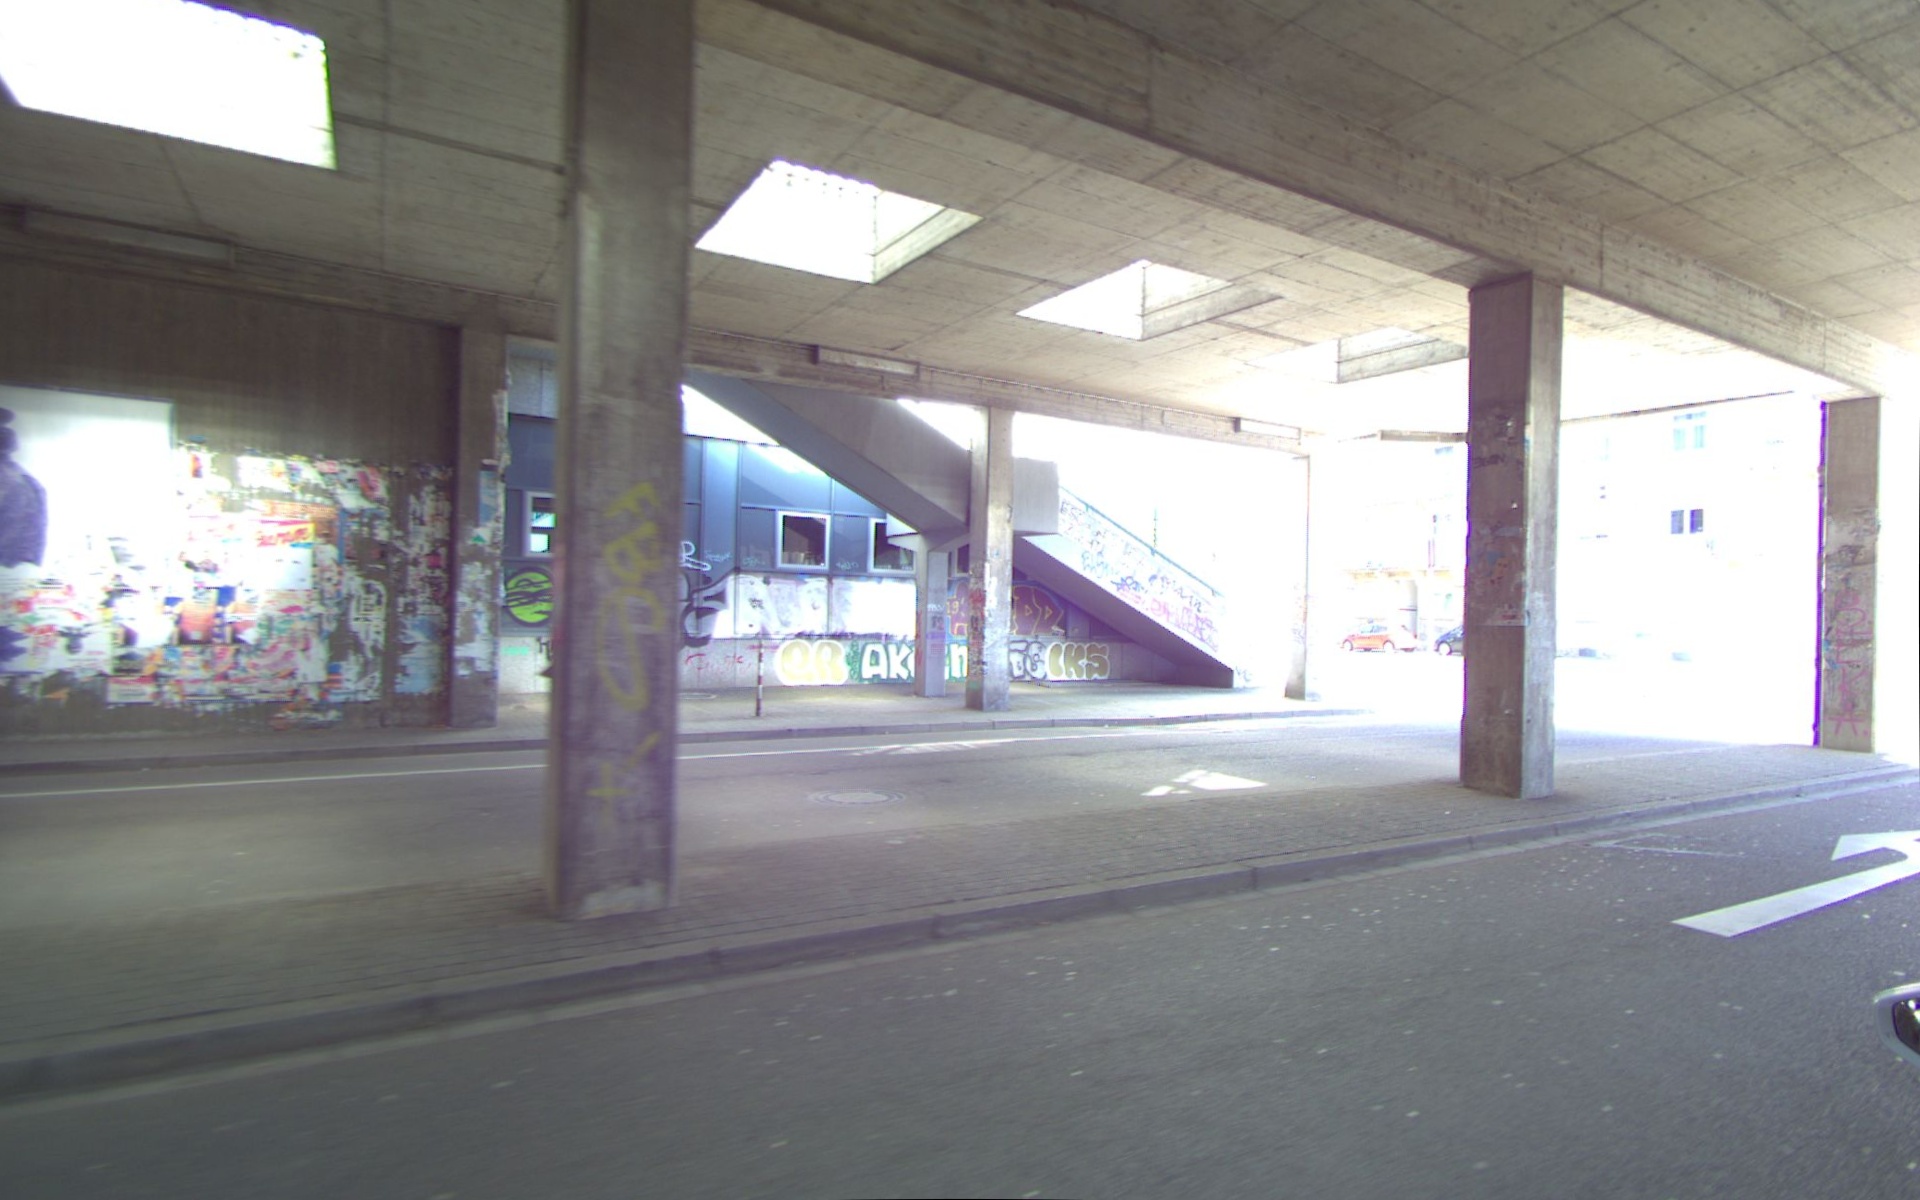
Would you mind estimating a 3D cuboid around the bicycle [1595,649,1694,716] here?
[{"bbox_3d":[12.543,1.487,18.402,1.835,1.105,0.696,-1,0,-27],"label":"bicycle"}]

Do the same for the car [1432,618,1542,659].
[{"bbox_3d":[24.316,1.750,46.462,1.938,1.747,4.142,0,0,-29],"label":"car"}]

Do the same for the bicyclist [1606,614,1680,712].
[{"bbox_3d":[12.509,1.122,18.403,0.954,1.734,0.743,0,0,-27],"label":"bicyclist"}]

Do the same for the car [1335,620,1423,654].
[{"bbox_3d":[21.380,1.852,51.337,1.876,1.561,3.861,0,0,-29],"label":"car"}]
